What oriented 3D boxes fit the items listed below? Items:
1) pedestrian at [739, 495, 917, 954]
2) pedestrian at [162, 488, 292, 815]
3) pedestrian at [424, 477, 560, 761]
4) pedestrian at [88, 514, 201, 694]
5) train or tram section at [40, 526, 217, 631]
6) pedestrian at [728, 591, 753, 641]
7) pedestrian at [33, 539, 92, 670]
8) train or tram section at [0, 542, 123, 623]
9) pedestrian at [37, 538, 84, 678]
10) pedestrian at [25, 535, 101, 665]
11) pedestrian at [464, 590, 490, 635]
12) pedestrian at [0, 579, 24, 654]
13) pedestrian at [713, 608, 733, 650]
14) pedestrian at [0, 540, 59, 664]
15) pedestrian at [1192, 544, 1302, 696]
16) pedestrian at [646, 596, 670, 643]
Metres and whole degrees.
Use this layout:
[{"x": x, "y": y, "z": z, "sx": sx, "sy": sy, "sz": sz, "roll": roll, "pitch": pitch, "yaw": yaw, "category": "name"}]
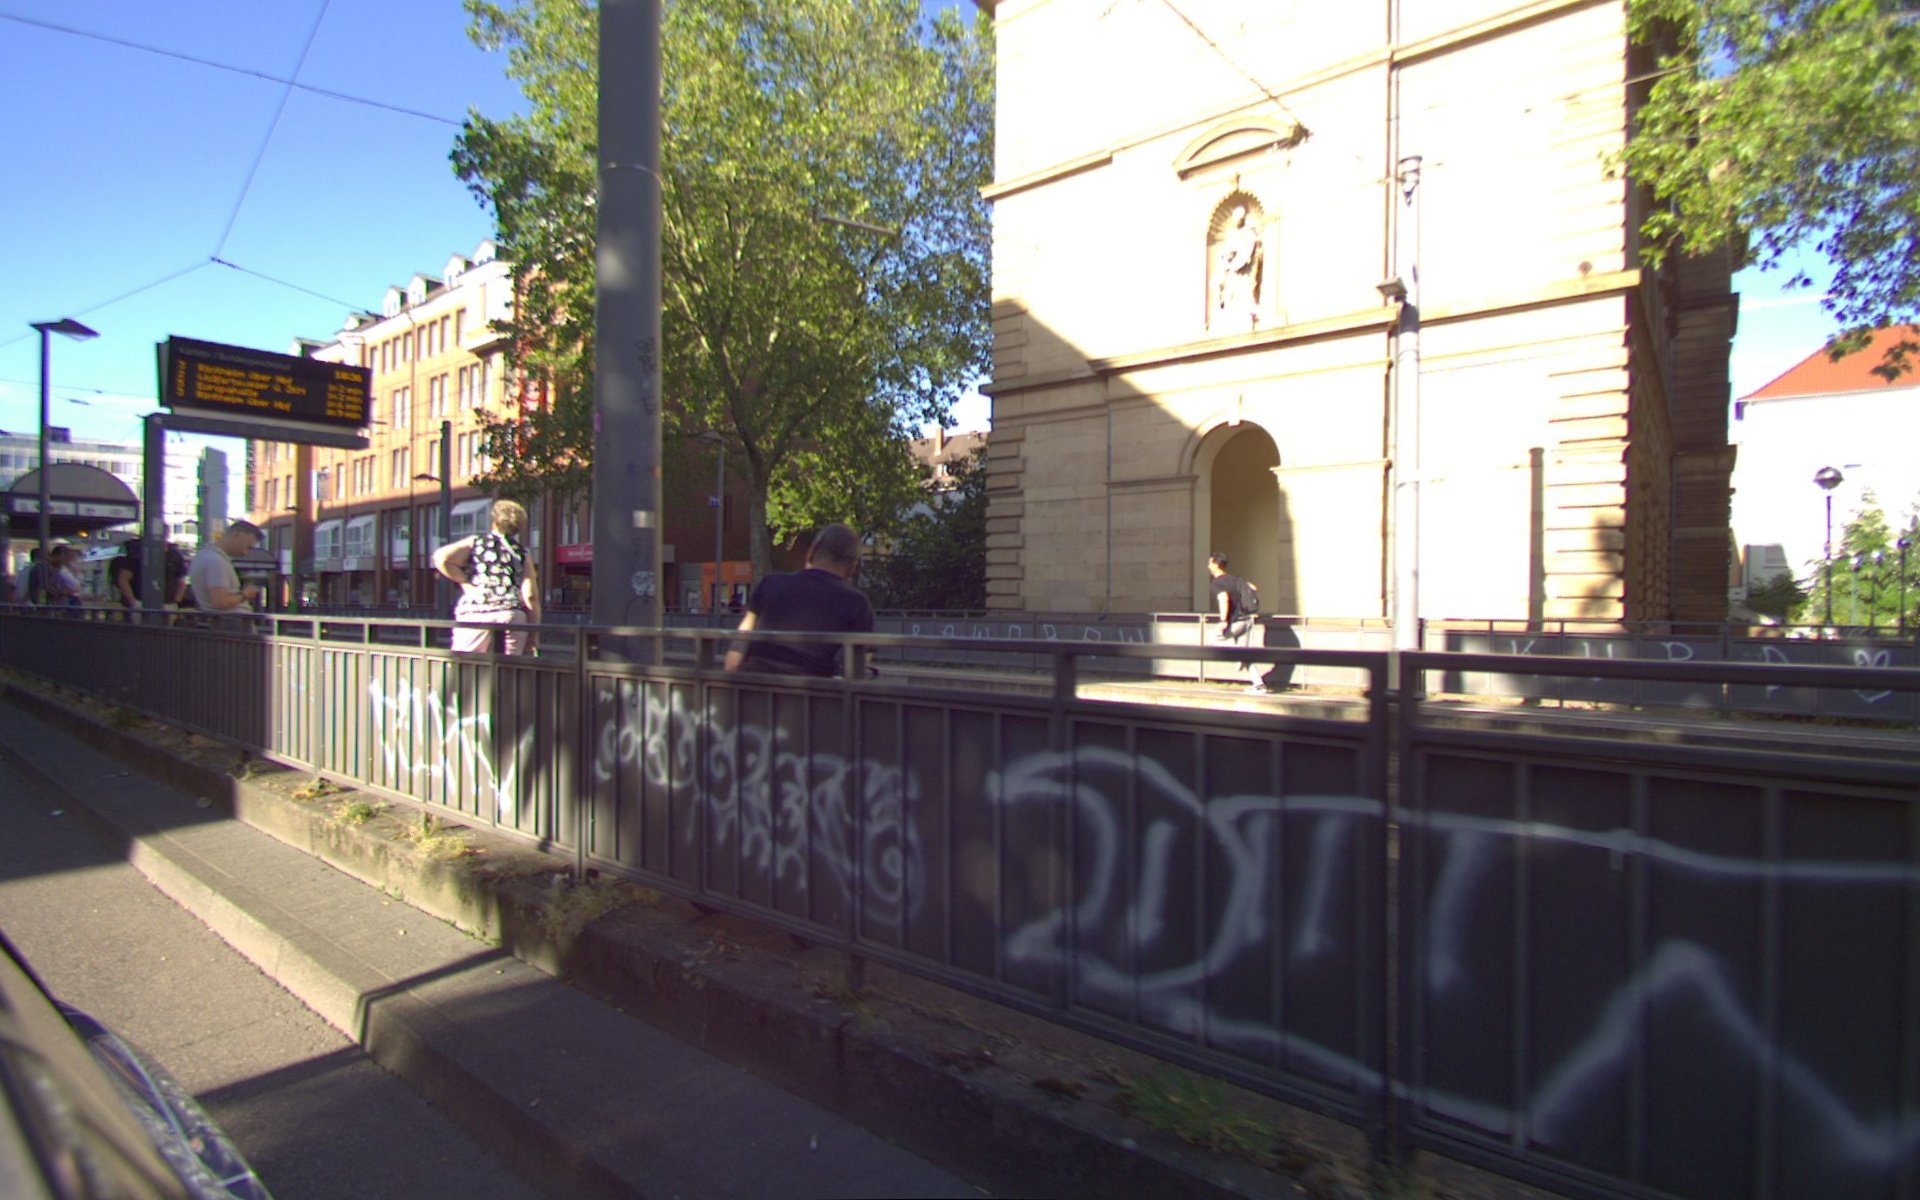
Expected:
[{"x": -0.425, "y": 0.367, "z": 3.206, "sx": 0.473, "sy": 1.339, "sz": 0.355, "roll": 1, "pitch": -1, "yaw": -20, "category": "pedestrian"}, {"x": -5.137, "y": 0.336, "z": 7.088, "sx": 0.807, "sy": 2.136, "sz": 0.532, "roll": 0, "pitch": 0, "yaw": 40, "category": "pedestrian"}, {"x": -3.087, "y": 0.119, "z": 6.666, "sx": 0.752, "sy": 1.747, "sz": 0.591, "roll": 1, "pitch": 0, "yaw": -29, "category": "pedestrian"}, {"x": -8.815, "y": 0.027, "z": 10.950, "sx": 0.803, "sy": 1.845, "sz": 0.763, "roll": 1, "pitch": 2, "yaw": 37, "category": "pedestrian"}, {"x": -34.676, "y": -0.749, "z": 41.735, "sx": 16.477, "sy": 3.672, "sz": 2.943, "roll": 0, "pitch": 1, "yaw": 41, "category": "train or tram section"}, {"x": -8.375, "y": 0.597, "z": 38.607, "sx": 0.626, "sy": 1.896, "sz": 0.698, "roll": 0, "pitch": 0, "yaw": 44, "category": "pedestrian"}, {"x": -11.724, "y": 0.053, "z": 13.219, "sx": 0.589, "sy": 1.661, "sz": 0.488, "roll": 0, "pitch": 0, "yaw": 39, "category": "pedestrian"}, {"x": -46.084, "y": -0.853, "z": 51.652, "sx": 13.937, "sy": 3.672, "sz": 2.943, "roll": 1, "pitch": 1, "yaw": 41, "category": "train or tram section"}, {"x": -11.034, "y": 0.095, "z": 12.410, "sx": 0.528, "sy": 1.682, "sz": 0.348, "roll": 0, "pitch": 0, "yaw": 39, "category": "pedestrian"}, {"x": -12.608, "y": 0.000, "z": 14.224, "sx": 0.747, "sy": 1.765, "sz": 0.683, "roll": 0, "pitch": 0, "yaw": 39, "category": "pedestrian"}, {"x": -20.997, "y": 0.519, "z": 44.002, "sx": 0.665, "sy": 1.930, "sz": 0.781, "roll": 0, "pitch": 0, "yaw": 39, "category": "pedestrian"}, {"x": -16.368, "y": 0.275, "z": 17.266, "sx": 0.460, "sy": 1.262, "sz": 0.535, "roll": 1, "pitch": 1, "yaw": 40, "category": "pedestrian"}, {"x": -8.925, "y": 1.079, "z": 38.081, "sx": 0.474, "sy": 1.541, "sz": 0.577, "roll": 0, "pitch": 0, "yaw": 42, "category": "pedestrian"}, {"x": -13.889, "y": 0.029, "z": 15.006, "sx": 0.747, "sy": 1.778, "sz": 0.683, "roll": 0, "pitch": 0, "yaw": 39, "category": "pedestrian"}, {"x": 3.352, "y": 0.220, "z": 11.828, "sx": 1.033, "sy": 1.680, "sz": 0.688, "roll": 0, "pitch": 0, "yaw": 41, "category": "pedestrian"}, {"x": -11.836, "y": 0.746, "z": 39.657, "sx": 0.647, "sy": 1.819, "sz": 0.680, "roll": 0, "pitch": 0, "yaw": 39, "category": "pedestrian"}]
